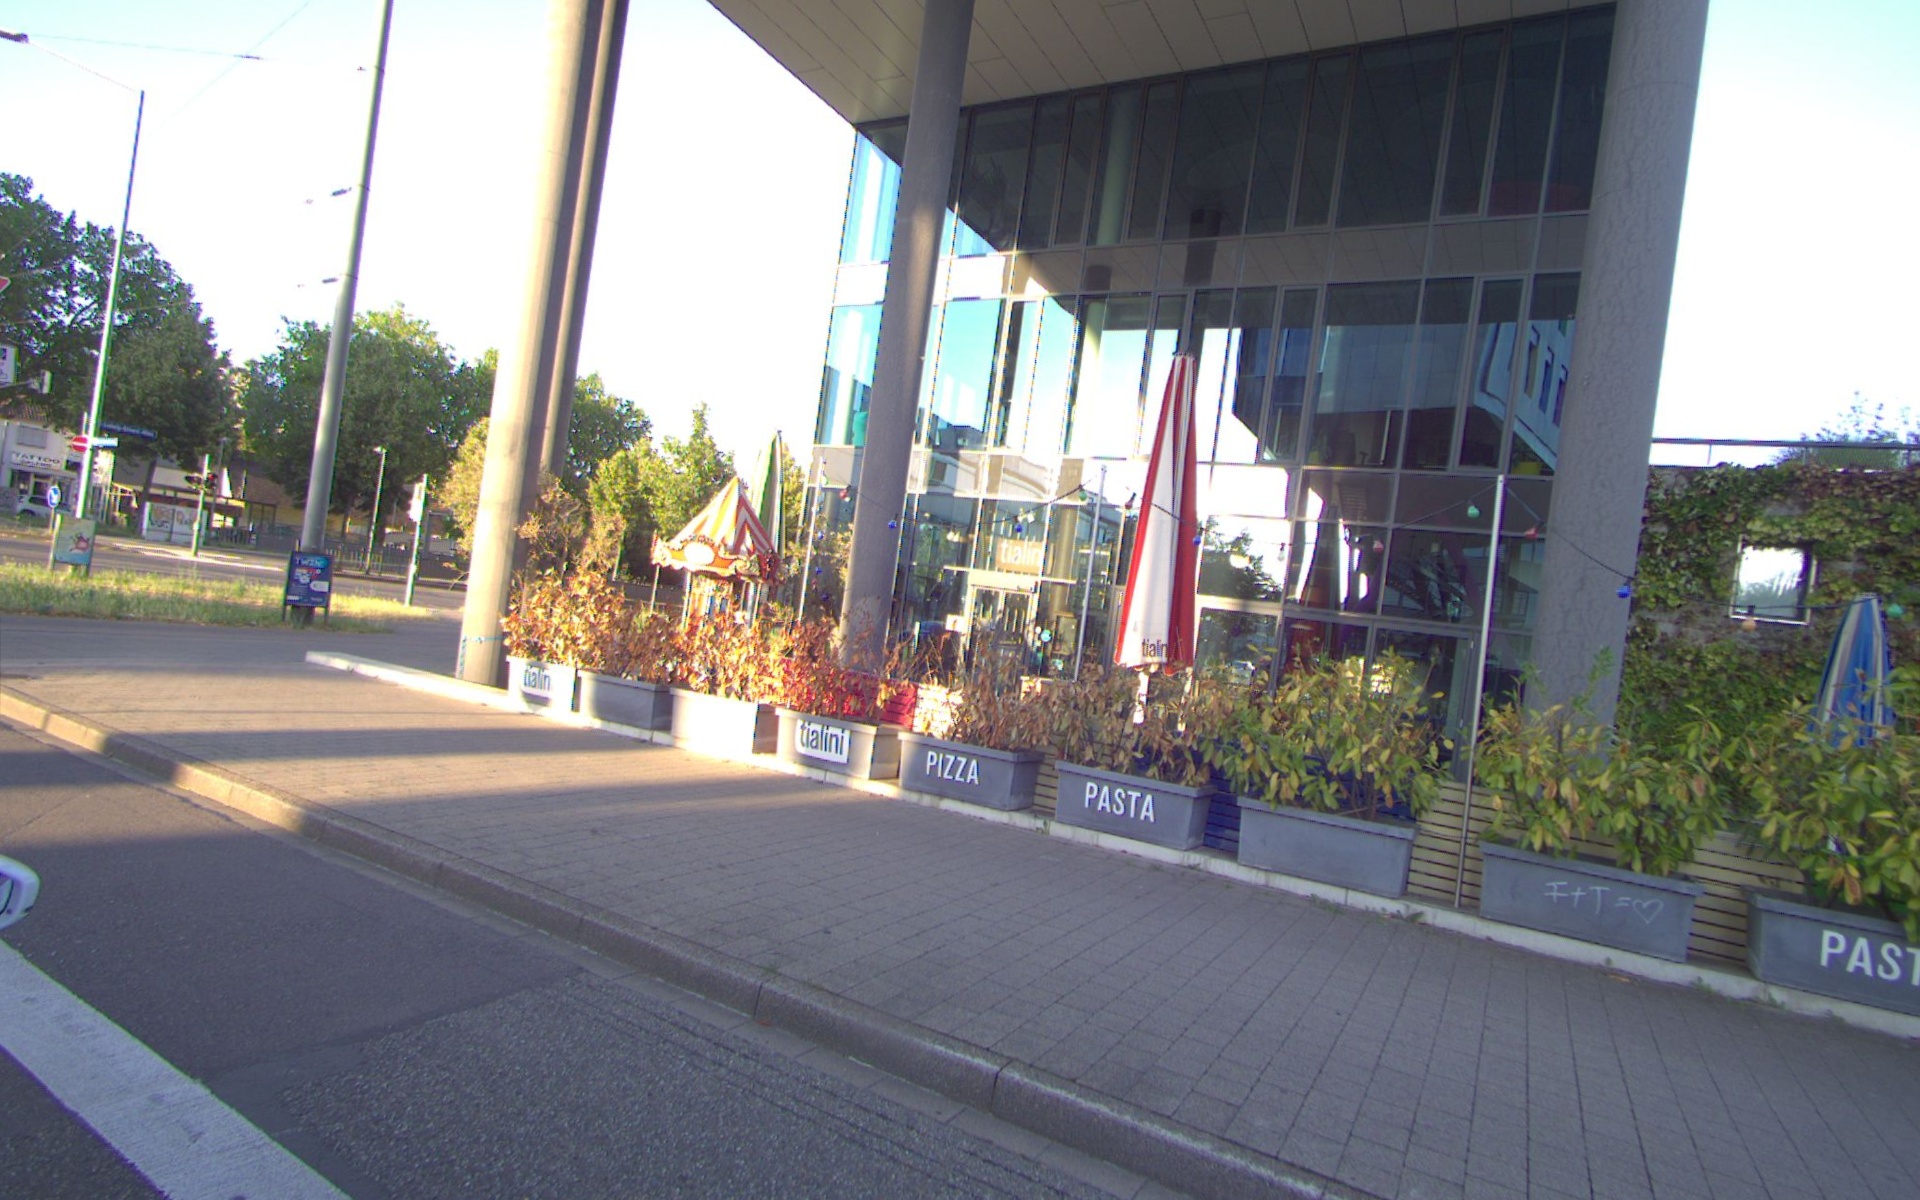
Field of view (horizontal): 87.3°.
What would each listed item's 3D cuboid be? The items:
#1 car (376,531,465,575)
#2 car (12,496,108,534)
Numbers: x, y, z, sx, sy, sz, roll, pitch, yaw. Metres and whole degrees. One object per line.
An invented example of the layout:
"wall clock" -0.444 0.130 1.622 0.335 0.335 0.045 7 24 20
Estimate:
"car" -42.600 -3.683 79.552 2.197 2.581 5.594 7 -2 39
"car" -50.154 -4.734 56.078 1.641 1.456 3.736 6 -2 41
